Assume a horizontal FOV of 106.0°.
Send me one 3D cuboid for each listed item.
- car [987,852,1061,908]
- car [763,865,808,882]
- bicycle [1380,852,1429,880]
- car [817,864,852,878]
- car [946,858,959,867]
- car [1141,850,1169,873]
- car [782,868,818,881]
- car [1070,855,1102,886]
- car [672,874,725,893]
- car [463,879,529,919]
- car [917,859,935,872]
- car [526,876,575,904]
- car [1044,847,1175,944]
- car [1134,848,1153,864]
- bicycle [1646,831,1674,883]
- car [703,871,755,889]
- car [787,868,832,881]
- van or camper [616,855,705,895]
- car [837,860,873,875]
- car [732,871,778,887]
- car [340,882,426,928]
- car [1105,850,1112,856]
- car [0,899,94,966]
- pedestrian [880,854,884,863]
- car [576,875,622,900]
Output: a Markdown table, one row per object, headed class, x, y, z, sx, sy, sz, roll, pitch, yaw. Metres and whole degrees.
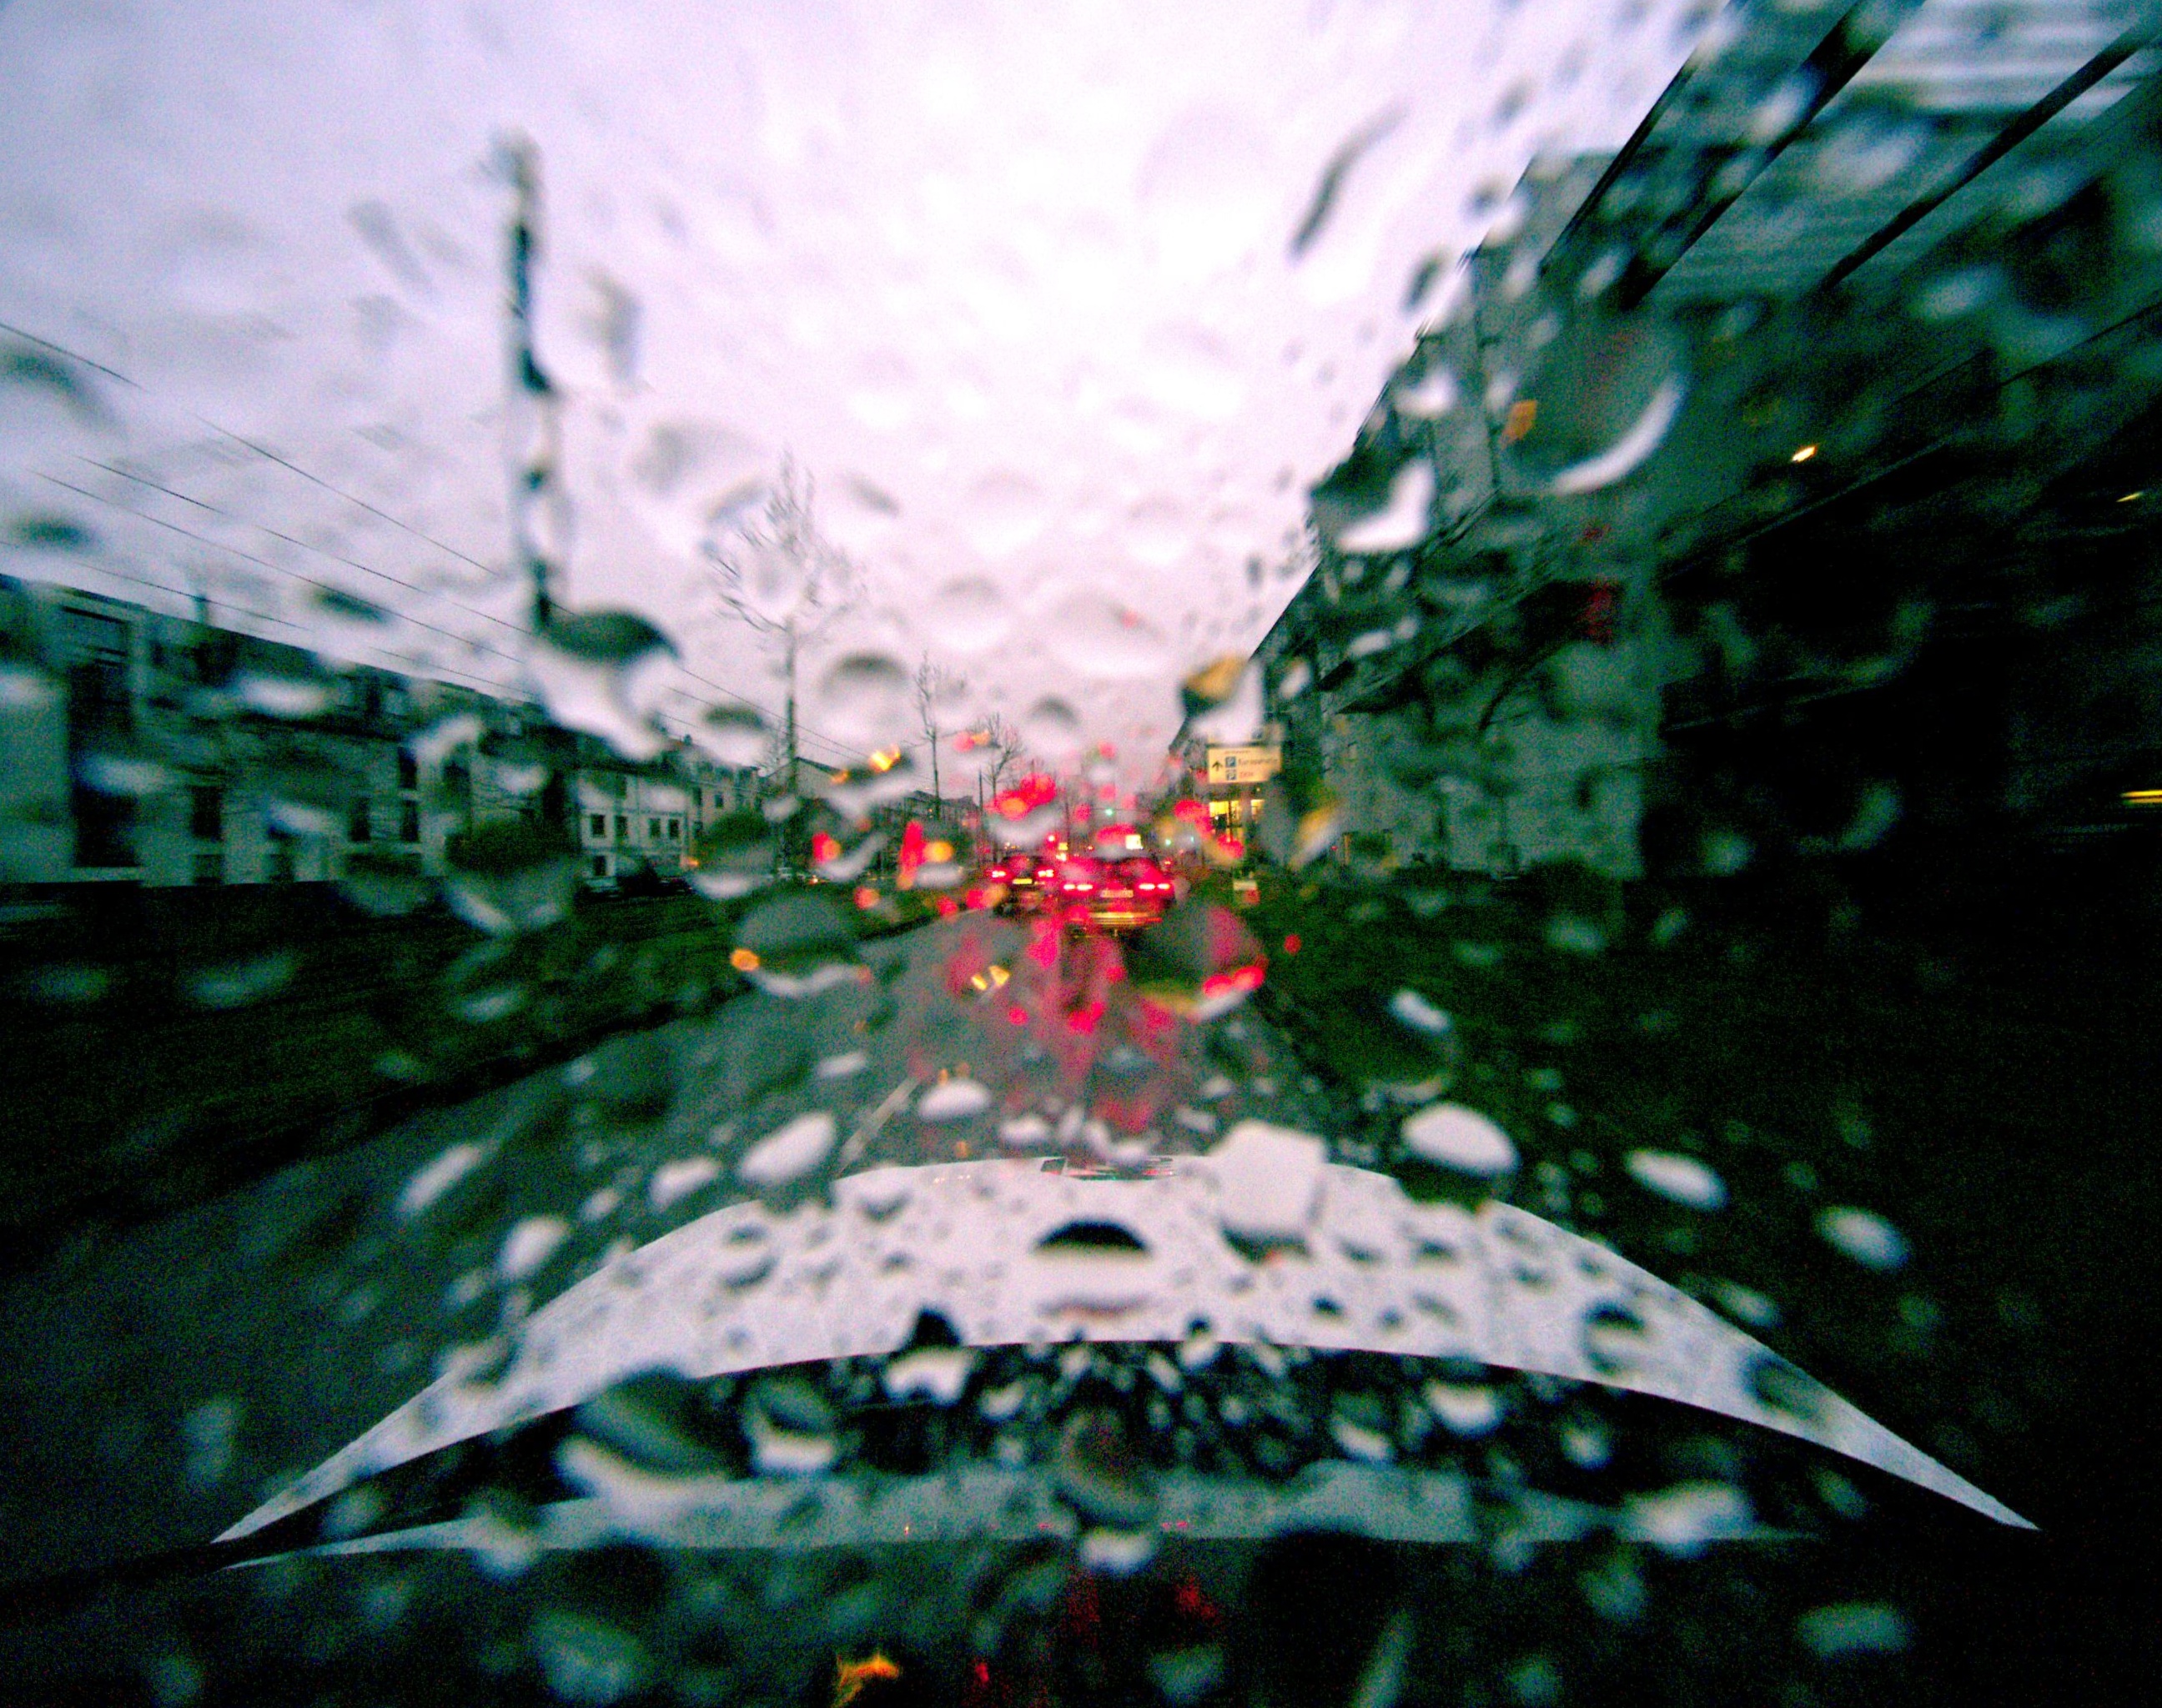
| class | x | y | z | sx | sy | sz | roll | pitch | yaw |
| --- | --- | --- | --- | --- | --- | --- | --- | --- | --- |
| car | -1.524 | 0.683 | 23.252 | 1.811 | 1.450 | 3.999 | 0 | 0 | 0 |
| car | -25.281 | 1.676 | 69.673 | 4.071 | 1.378 | 1.784 | 0 | 0 | 38 |
| bicycle | 13.397 | 0.482 | 33.748 | 1.803 | 1.052 | 0.397 | -3 | 0 | -1 |
| car | -25.139 | 1.712 | 83.087 | 3.719 | 1.337 | 1.463 | -2 | 0 | 37 |
| car | -24.281 | 1.547 | 153.547 | 1.927 | 1.597 | 3.725 | 0 | 0 | -1 |
| car | 5.139 | 0.523 | 56.660 | 1.858 | 1.543 | 3.615 | 0 | 0 | 5 |
| car | -25.165 | 1.812 | 72.900 | 3.005 | 1.147 | 1.406 | 0 | 0 | 32 |
| car | 0.309 | 0.868 | 45.467 | 1.683 | 1.635 | 3.475 | 0 | 0 | 2 |
| car | -26.495 | 2.013 | 56.369 | 3.494 | 1.212 | 1.759 | 0 | 0 | 33 |
| car | -26.596 | 1.992 | 36.985 | 3.801 | 1.588 | 1.753 | 0 | 0 | 43 |
| car | -20.888 | 1.538 | 110.061 | 1.607 | 1.623 | 3.510 | 0 | 0 | 2 |
| car | -26.903 | 1.803 | 41.279 | 3.058 | 1.302 | 1.397 | 0 | 0 | 43 |
| car | 0.492 | 0.642 | 14.338 | 1.986 | 1.483 | 3.701 | 0 | 0 | 2 |
| car | 6.007 | 0.164 | 78.619 | 1.617 | 1.498 | 3.528 | 0 | 0 | 2 |
| bicycle | 15.051 | 0.065 | 21.191 | 0.406 | 1.284 | 1.755 | -1 | 0 | 29 |
| car | -25.726 | 1.884 | 59.500 | 3.494 | 1.200 | 1.894 | 0 | 0 | 33 |
| car | -25.257 | 1.907 | 75.682 | 4.135 | 1.116 | 1.692 | 0 | 0 | 32 |
| van or camper | -26.394 | 1.271 | 50.982 | 6.792 | 2.360 | 2.013 | 0 | 0 | 35 |
| car | -24.668 | 1.500 | 88.926 | 3.749 | 1.555 | 1.753 | 0 | 0 | 34 |
| car | -25.293 | 1.891 | 63.155 | 3.374 | 1.147 | 1.702 | 0 | 0 | 33 |
| car | -26.489 | 1.875 | 30.849 | 4.109 | 1.541 | 1.680 | 0 | 0 | 38 |
| car | 6.511 | -0.214 | 193.686 | 1.542 | 1.508 | 3.389 | 0 | 0 | 3 |
| car | -26.814 | 1.971 | 21.006 | 3.342 | 1.422 | 1.680 | 0 | 0 | 40 |
| pedestrian | -25.560 | 0.563 | 104.791 | 0.348 | 1.184 | 0.429 | 0 | -1 | -39 |
| car | -25.981 | 1.768 | 43.864 | 2.852 | 1.204 | 1.397 | 0 | 0 | 43 |
